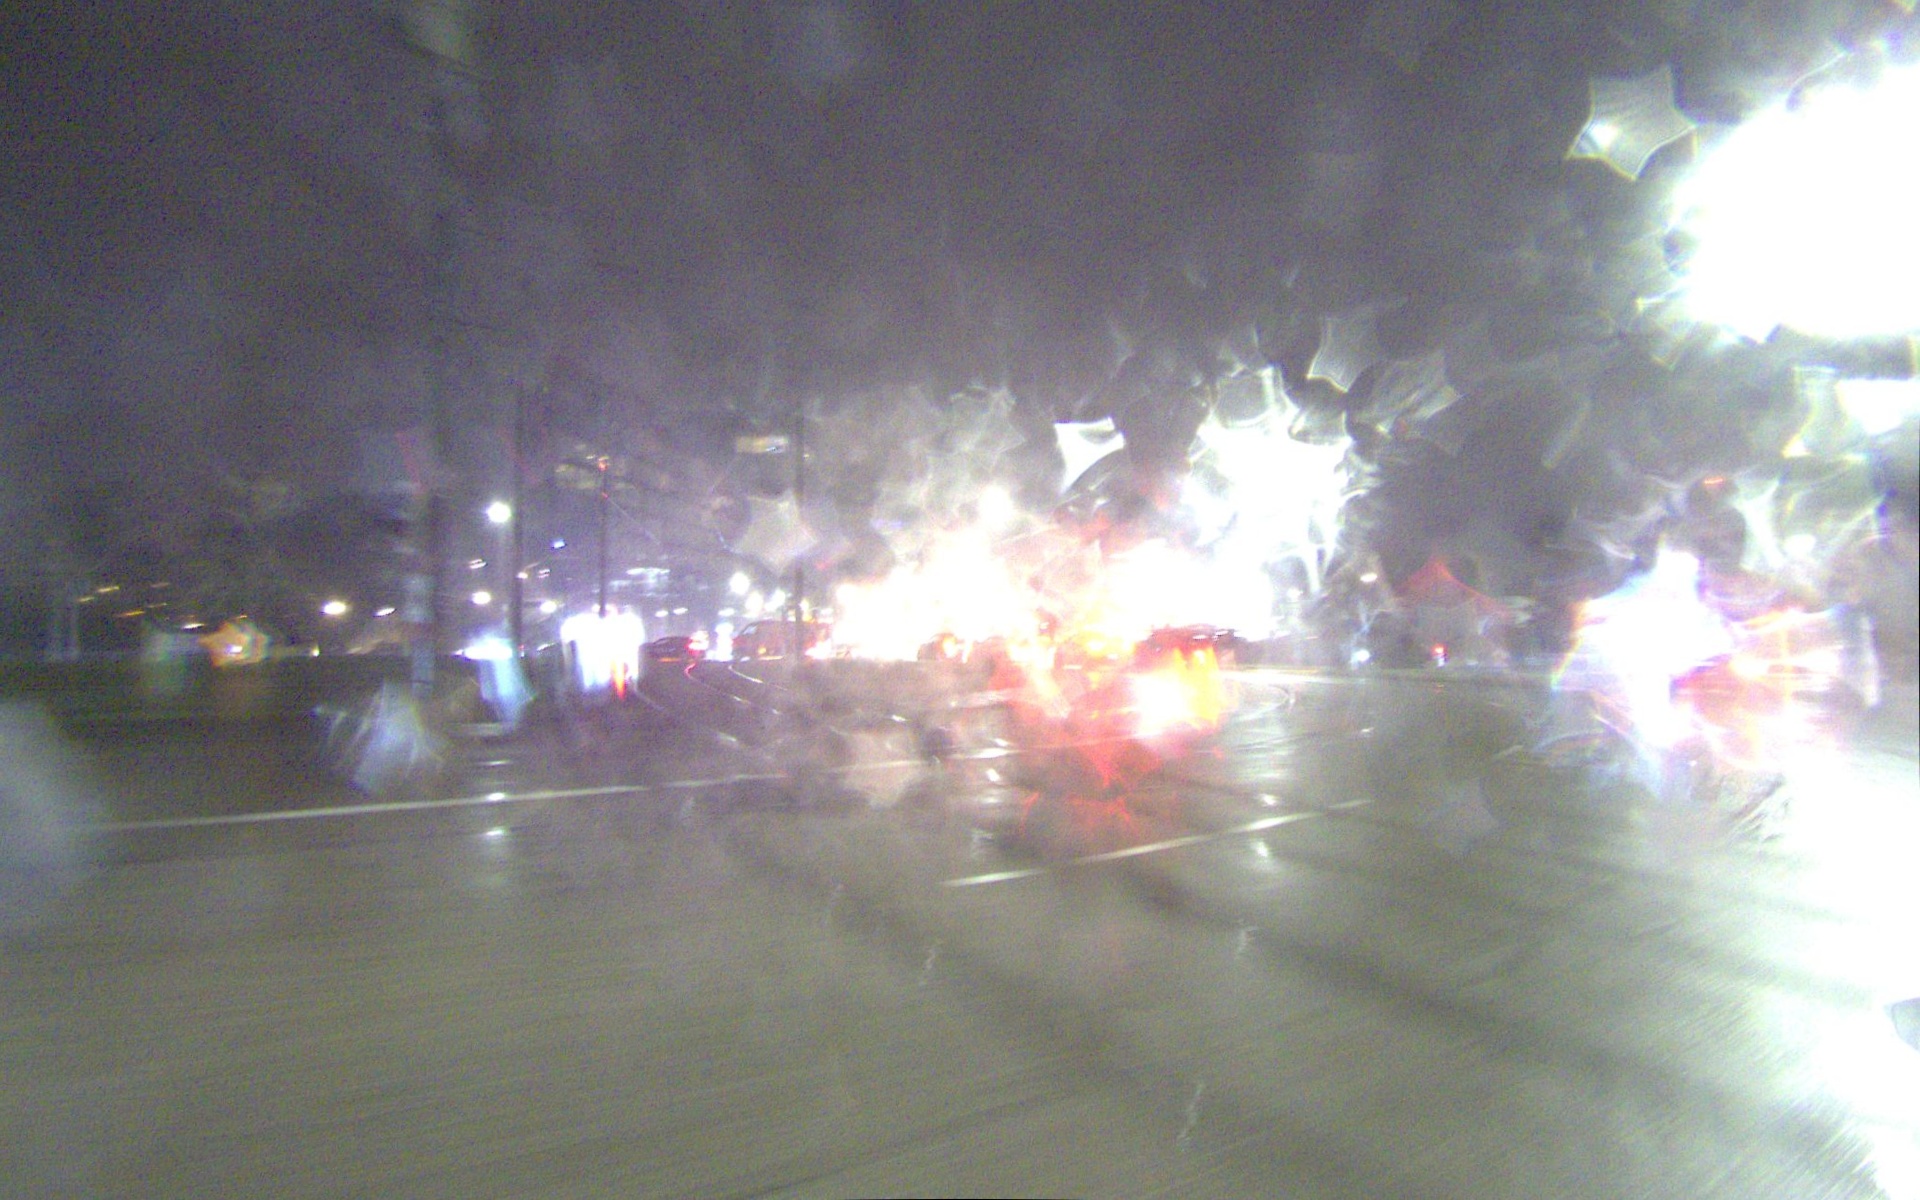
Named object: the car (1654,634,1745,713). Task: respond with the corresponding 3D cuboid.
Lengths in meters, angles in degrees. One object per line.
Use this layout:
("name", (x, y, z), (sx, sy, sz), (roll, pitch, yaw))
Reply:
("car", (21.560, 2.042, 29.216), (1.969, 2.040, 4.538), (0, -1, 38))

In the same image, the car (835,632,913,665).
("car", (-4.678, 2.583, 54.383), (3.933, 1.637, 1.831), (0, -1, 34))

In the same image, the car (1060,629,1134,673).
("car", (5.361, 1.970, 39.782), (1.706, 1.599, 3.957), (1, -1, -11))

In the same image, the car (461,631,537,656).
("car", (-28.700, 2.667, 62.571), (3.987, 1.463, 1.811), (2, -1, -41))

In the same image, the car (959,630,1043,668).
("car", (1.865, 2.246, 46.367), (1.859, 1.599, 3.924), (1, -1, -36))

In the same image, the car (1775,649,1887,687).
("car", (44.905, 3.499, 51.831), (4.310, 1.781, 1.877), (1, -1, -4))

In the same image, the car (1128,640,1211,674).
("car", (10.850, 2.917, 51.943), (3.925, 1.605, 1.594), (0, -1, 26))

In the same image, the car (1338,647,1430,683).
("car", (20.966, 3.198, 49.753), (3.812, 1.661, 1.865), (1, -1, 5))

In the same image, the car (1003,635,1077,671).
("car", (3.833, 2.547, 48.723), (1.719, 1.599, 3.595), (1, -1, -34))

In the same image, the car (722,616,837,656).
("car", (-10.392, 2.039, 57.902), (6.194, 2.117, 2.514), (0, -1, 25))

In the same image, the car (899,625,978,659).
("car", (-1.118, 2.080, 50.394), (3.911, 1.599, 1.726), (0, -1, 45))

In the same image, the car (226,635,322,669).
("car", (-35.791, 2.677, 52.475), (1.747, 1.639, 3.853), (0, -1, 41))

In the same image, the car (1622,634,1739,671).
("car", (36.299, 2.620, 50.701), (4.529, 1.759, 2.000), (1, -1, -1))

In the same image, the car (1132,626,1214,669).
("car", (8.401, 1.863, 39.895), (1.708, 1.599, 3.618), (1, -1, -15))

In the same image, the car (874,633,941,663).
("car", (-2.988, 2.697, 56.808), (3.573, 1.599, 1.729), (0, -1, 39))
